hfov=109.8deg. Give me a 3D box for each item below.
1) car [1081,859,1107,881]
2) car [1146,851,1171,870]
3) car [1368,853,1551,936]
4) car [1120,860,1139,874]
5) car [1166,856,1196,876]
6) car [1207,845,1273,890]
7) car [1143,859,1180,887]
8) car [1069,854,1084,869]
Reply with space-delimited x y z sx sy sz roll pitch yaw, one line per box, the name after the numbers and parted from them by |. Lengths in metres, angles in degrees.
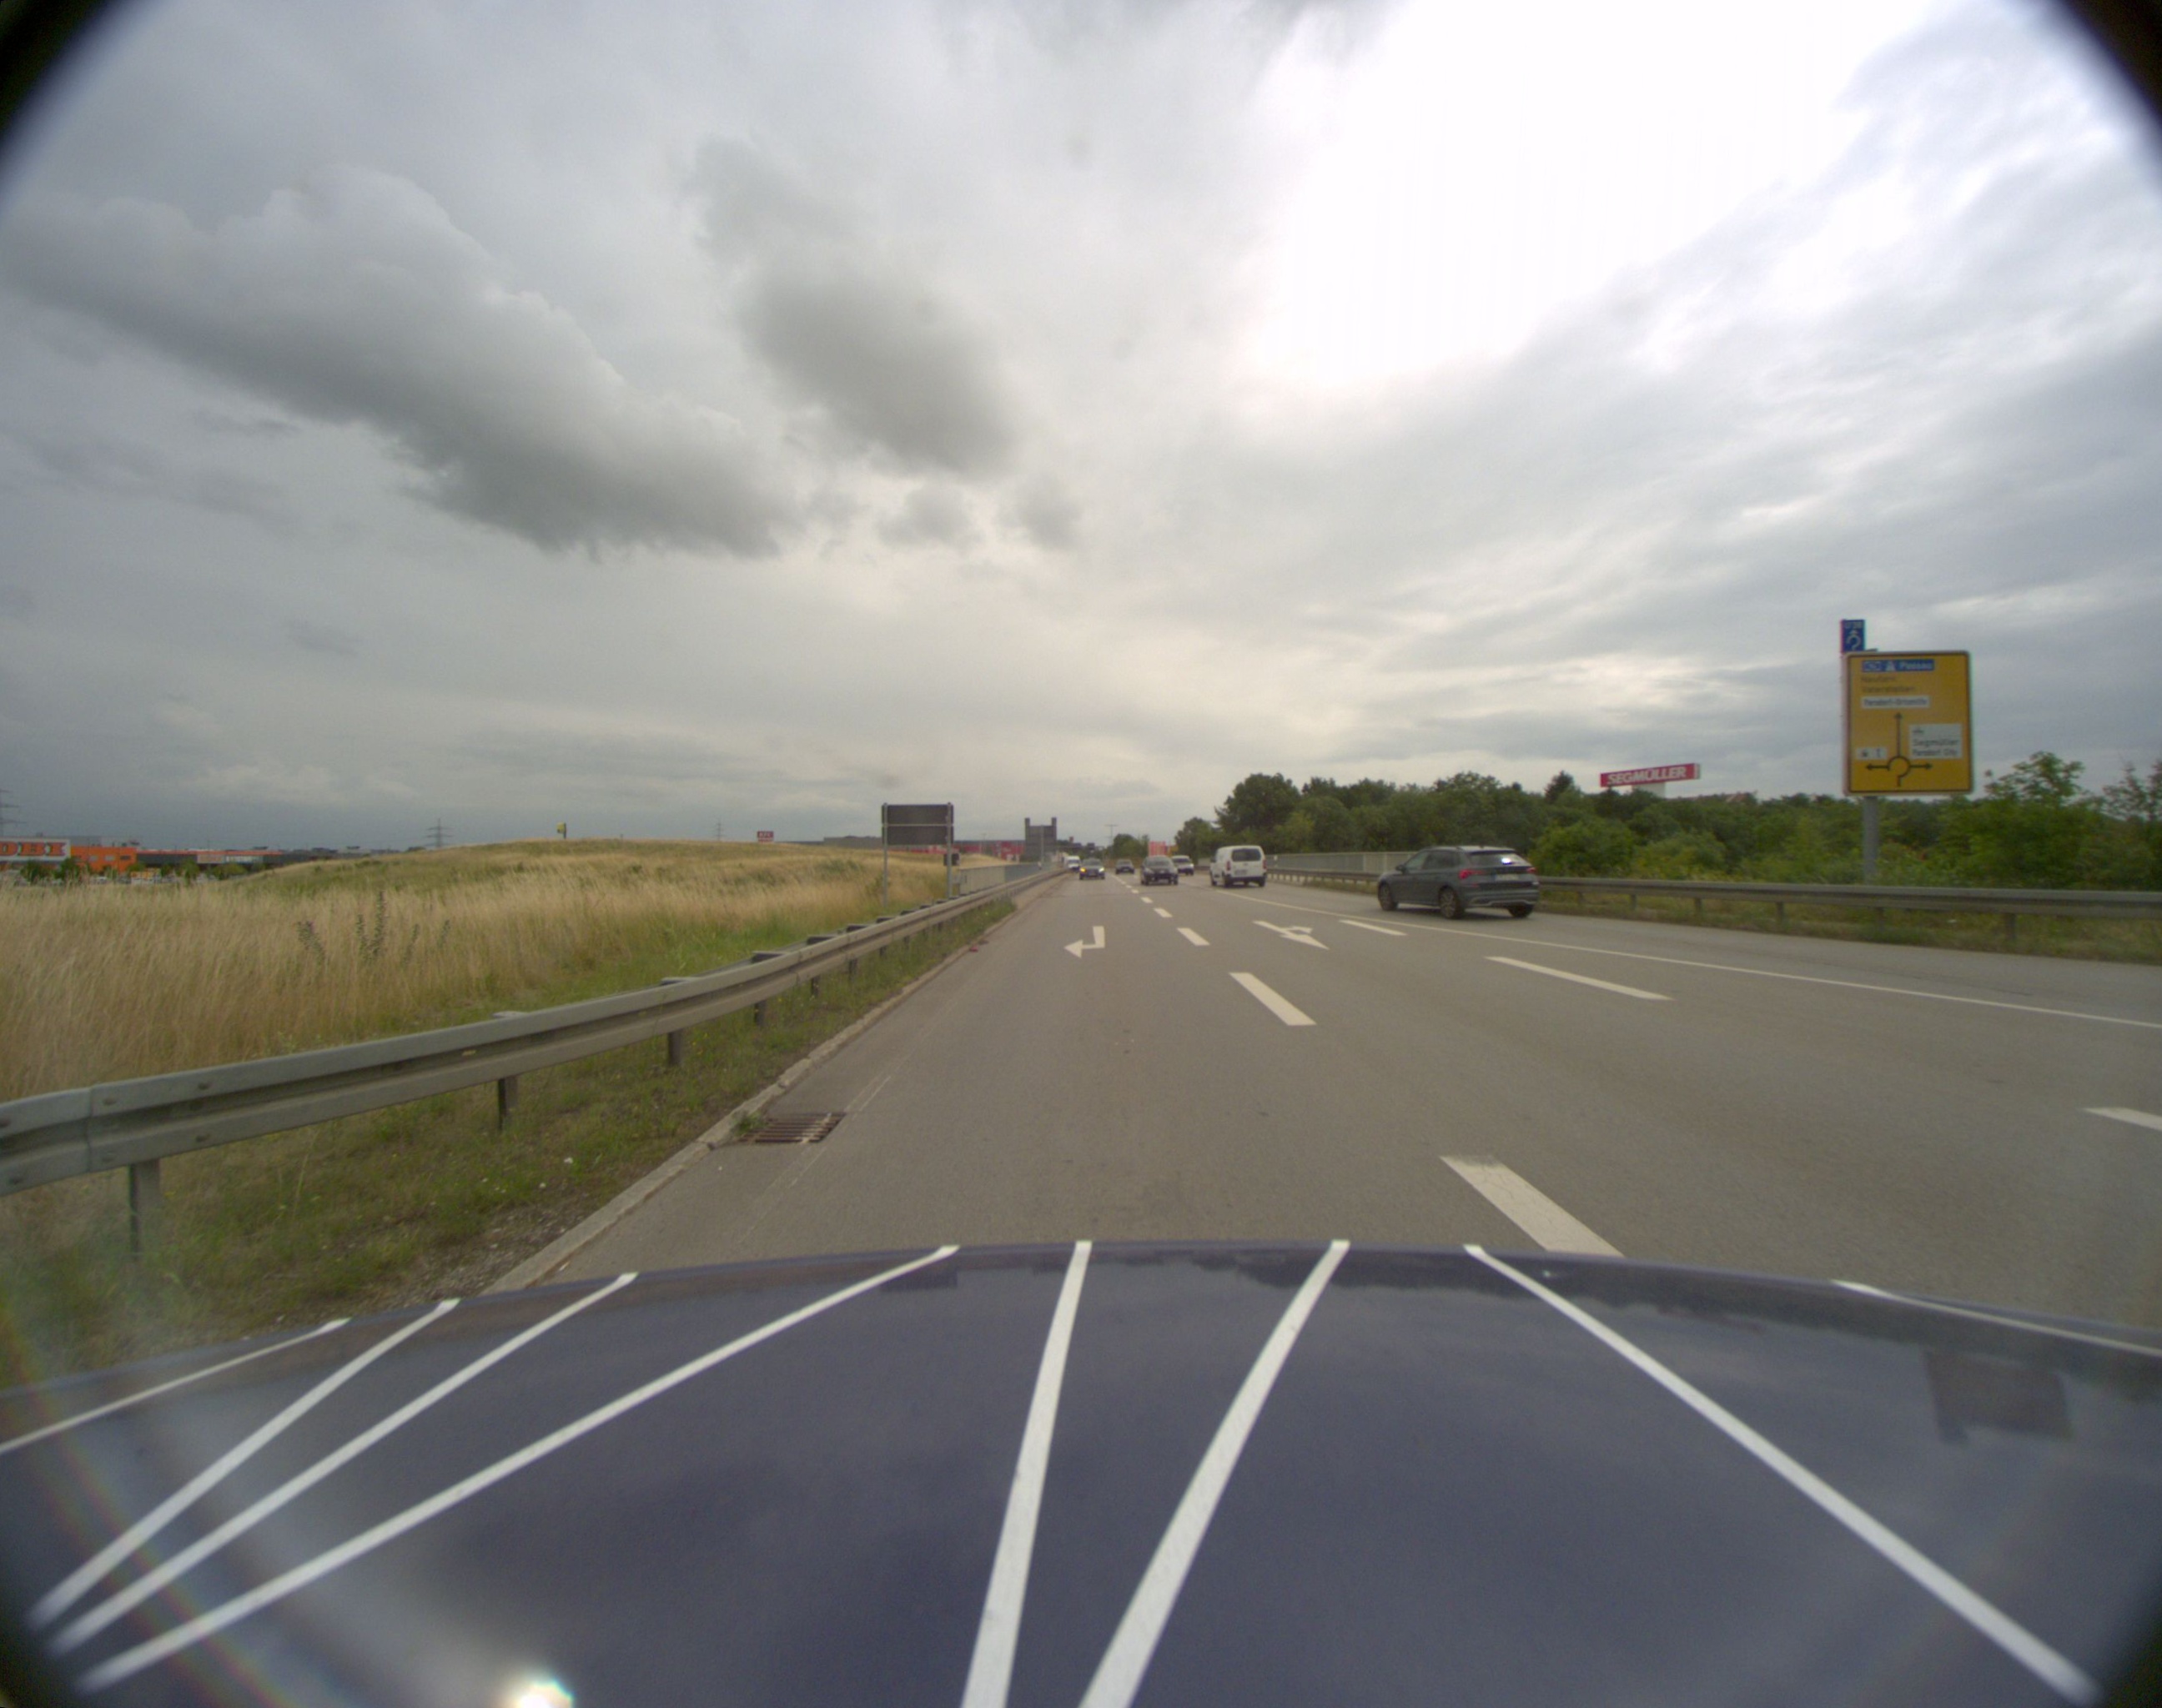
0.946 1.170 53.892 1.764 1.411 4.093 -1 -3 1 | car
7.504 0.635 73.942 1.998 1.722 4.762 -2 1 1 | car
8.122 0.780 16.788 1.587 1.548 4.143 -2 0 -7 | car
4.660 1.269 73.464 1.579 1.261 3.314 -1 0 1 | car
7.673 0.905 58.484 1.716 1.478 4.279 -1 0 0 | car
7.160 0.574 34.711 1.958 1.864 4.820 -1 0 -1 | car
4.143 0.932 39.558 1.580 1.346 3.824 -1 0 1 | car
-0.733 1.103 111.569 1.999 2.001 4.844 -2 -2 -1 | car
